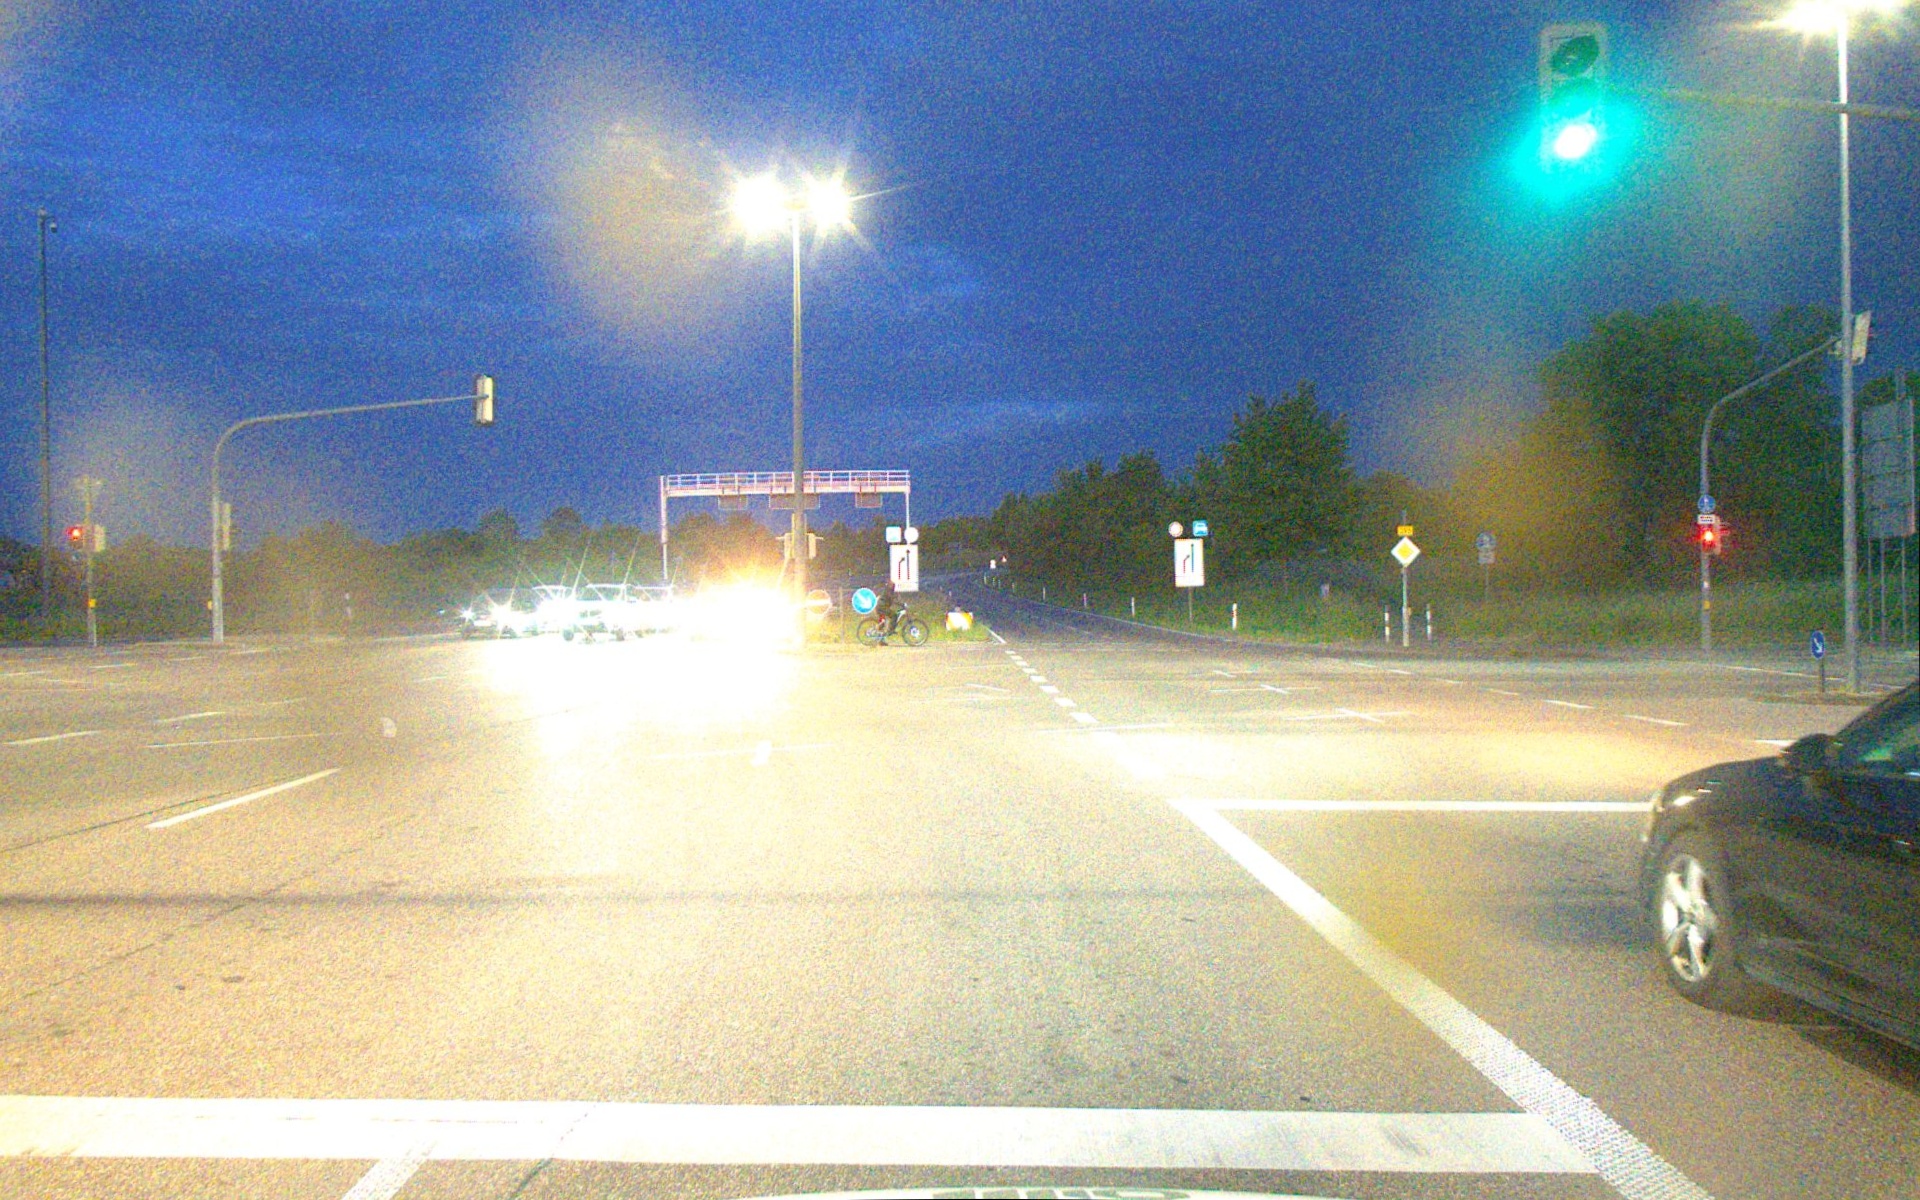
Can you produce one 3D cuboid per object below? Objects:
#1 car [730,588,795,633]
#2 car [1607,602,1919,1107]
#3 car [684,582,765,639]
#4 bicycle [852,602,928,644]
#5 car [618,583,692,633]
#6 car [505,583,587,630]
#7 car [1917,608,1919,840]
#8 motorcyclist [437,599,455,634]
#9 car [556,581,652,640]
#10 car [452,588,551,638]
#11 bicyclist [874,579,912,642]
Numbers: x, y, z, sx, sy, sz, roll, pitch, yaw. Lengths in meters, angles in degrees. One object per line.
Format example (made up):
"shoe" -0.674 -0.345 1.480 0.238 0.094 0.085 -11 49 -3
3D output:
"car" -6.964 0.335 58.630 1.736 1.507 3.911 1 1 1
"car" 3.687 0.759 4.744 1.754 1.468 4.532 1 0 -2
"car" -7.165 0.291 50.753 1.814 1.661 4.585 0 1 0
"bicycle" -1.891 0.611 44.498 2.021 1.120 0.694 0 0 -6
"car" -10.603 0.243 57.827 1.709 1.655 4.363 0 1 1
"car" -14.388 0.205 57.679 1.794 1.551 4.000 -1 1 0
"car" 6.965 0.784 8.470 1.587 1.468 4.115 0 0 -3
"motorcyclist" -27.294 0.870 87.772 0.669 1.790 0.789 -4 -2 -7
"car" -10.760 0.275 50.303 1.869 1.711 4.421 0 1 1
"car" -14.184 0.372 51.421 1.743 1.471 4.292 1 1 2
"bicyclist" -1.799 0.274 44.522 0.977 1.680 0.603 0 0 -6
